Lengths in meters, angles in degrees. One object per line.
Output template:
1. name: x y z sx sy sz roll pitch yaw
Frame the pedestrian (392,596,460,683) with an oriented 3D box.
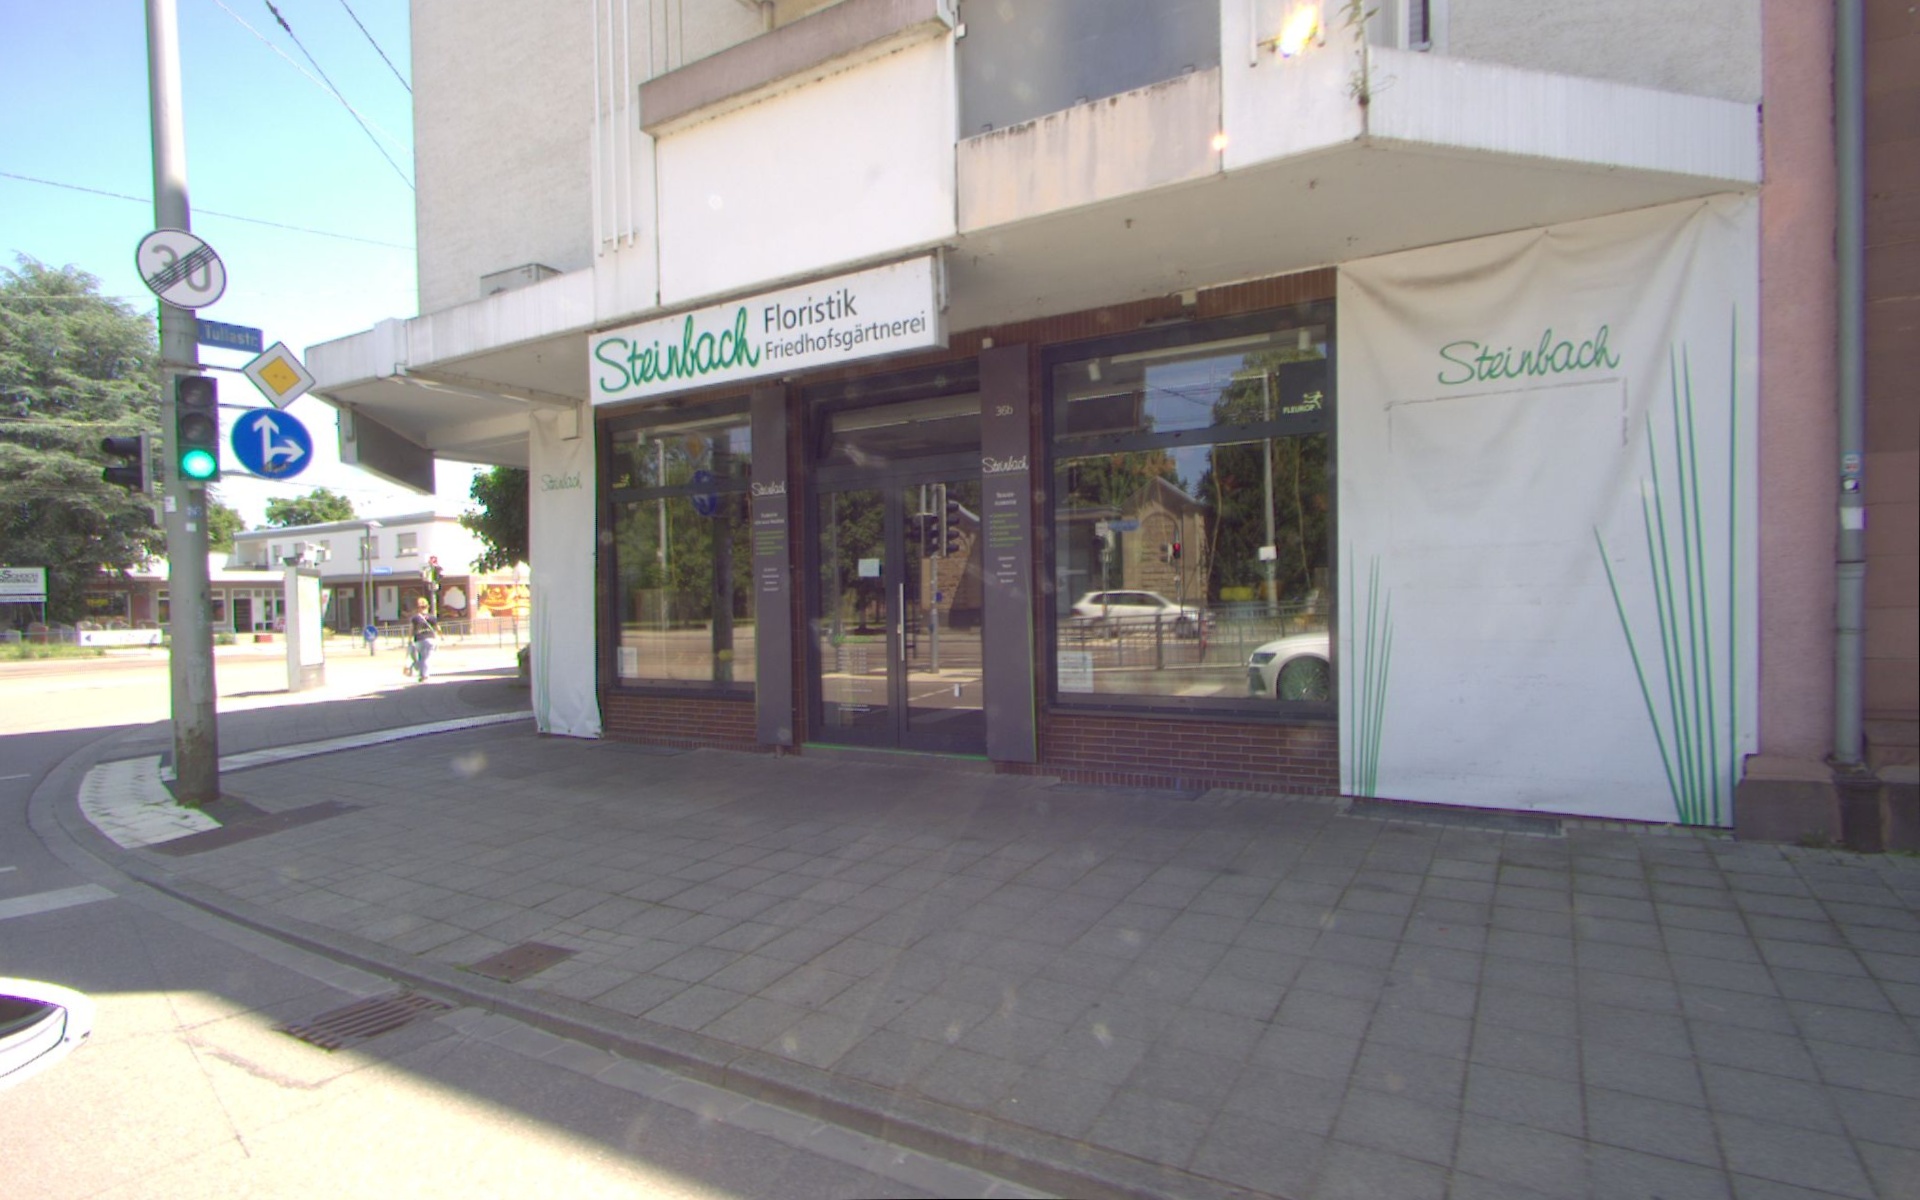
1. pedestrian: -10.516 0.762 19.727 0.816 1.605 0.822 0 4 38

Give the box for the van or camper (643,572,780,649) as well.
1. van or camper: -9.552 0.386 38.976 2.175 2.802 5.215 0 0 30

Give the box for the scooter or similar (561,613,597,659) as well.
1. scooter or similar: -10.393 0.968 27.336 0.387 1.229 1.255 -1 0 5
